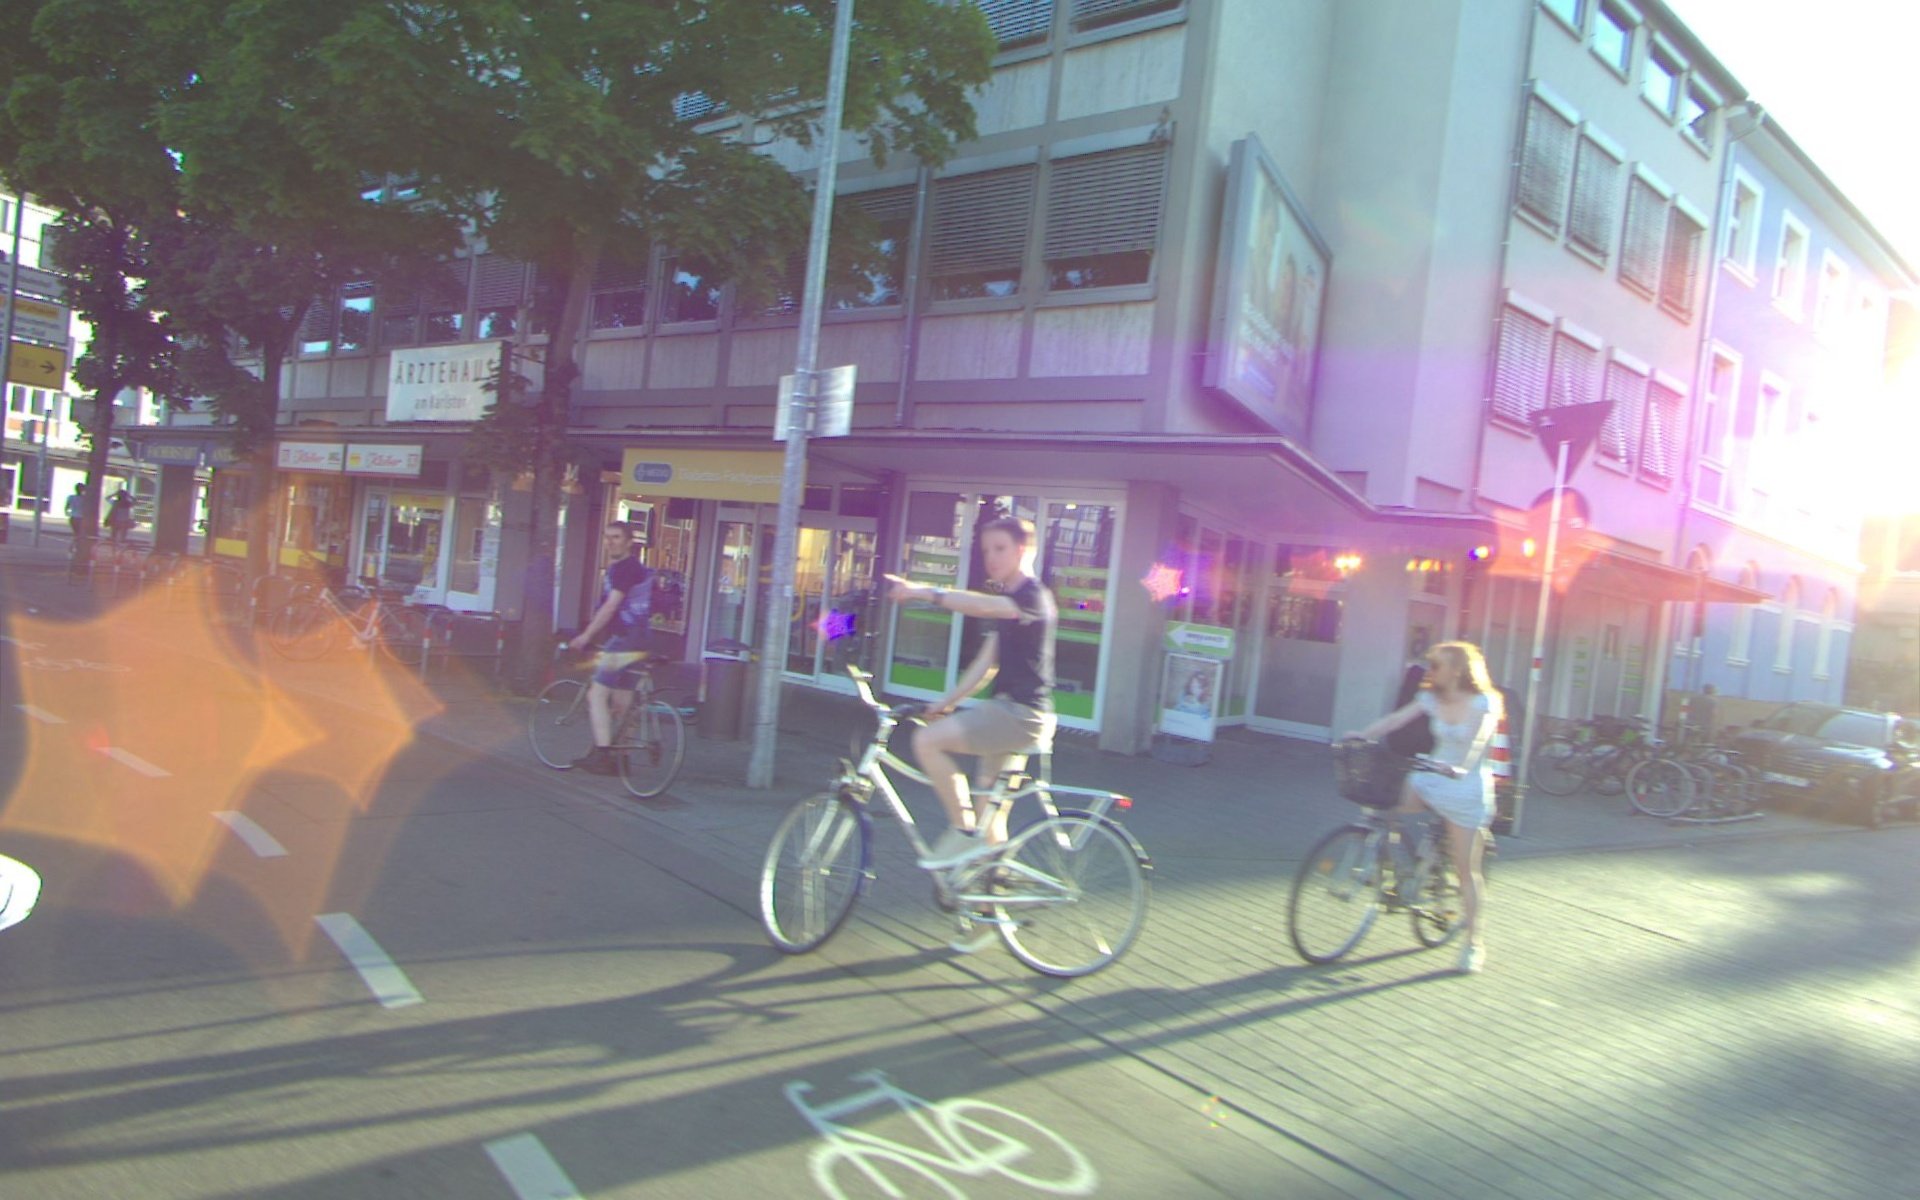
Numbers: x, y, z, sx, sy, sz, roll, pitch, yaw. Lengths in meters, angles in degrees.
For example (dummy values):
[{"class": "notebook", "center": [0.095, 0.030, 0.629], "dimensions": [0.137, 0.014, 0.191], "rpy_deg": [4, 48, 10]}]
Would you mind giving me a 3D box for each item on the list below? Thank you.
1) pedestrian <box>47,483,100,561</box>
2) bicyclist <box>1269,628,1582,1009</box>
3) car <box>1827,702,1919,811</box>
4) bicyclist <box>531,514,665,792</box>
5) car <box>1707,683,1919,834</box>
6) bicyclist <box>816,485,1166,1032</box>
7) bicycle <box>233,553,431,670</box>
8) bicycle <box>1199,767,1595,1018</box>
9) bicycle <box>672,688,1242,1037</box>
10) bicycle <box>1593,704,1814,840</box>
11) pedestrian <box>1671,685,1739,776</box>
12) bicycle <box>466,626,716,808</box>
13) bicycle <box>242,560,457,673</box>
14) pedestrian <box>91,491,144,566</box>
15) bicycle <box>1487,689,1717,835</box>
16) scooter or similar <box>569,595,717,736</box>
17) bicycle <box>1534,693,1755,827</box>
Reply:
[{"class": "pedestrian", "center": [-20.402, -1.791, 23.150], "dimensions": [0.660, 1.688, 0.684], "rpy_deg": [7, 1, 36]}, {"class": "bicyclist", "center": [2.369, 1.045, 5.139], "dimensions": [1.104, 1.643, 0.833], "rpy_deg": [6, 1, -34]}, {"class": "car", "center": [19.162, 3.155, 19.775], "dimensions": [4.389, 1.772, 1.877], "rpy_deg": [7, 2, -33]}, {"class": "bicyclist", "center": [-2.566, 0.365, 7.145], "dimensions": [0.549, 1.853, 0.465], "rpy_deg": [7, 1, 24]}, {"class": "car", "center": [13.523, 2.424, 15.769], "dimensions": [3.970, 1.772, 1.872], "rpy_deg": [7, 2, -40]}, {"class": "bicyclist", "center": [0.089, 0.607, 4.179], "dimensions": [1.095, 1.941, 0.839], "rpy_deg": [7, 1, -5]}, {"class": "bicycle", "center": [-7.784, 0.171, 12.547], "dimensions": [0.659, 1.251, 1.900], "rpy_deg": [8, 0, 43]}, {"class": "bicycle", "center": [2.254, 1.381, 5.095], "dimensions": [1.993, 0.892, 0.833], "rpy_deg": [7, 0, -34]}, {"class": "bicycle", "center": [-0.022, 1.037, 4.187], "dimensions": [2.040, 1.033, 0.839], "rpy_deg": [7, 1, -5]}, {"class": "bicycle", "center": [9.789, 2.234, 13.353], "dimensions": [0.698, 1.236, 2.091], "rpy_deg": [7, 4, -35]}, {"class": "pedestrian", "center": [13.702, 2.393, 18.506], "dimensions": [0.594, 1.545, 0.670], "rpy_deg": [6, 2, -36]}, {"class": "bicycle", "center": [-2.648, 0.792, 7.168], "dimensions": [1.768, 0.983, 0.465], "rpy_deg": [7, 1, 24]}, {"class": "bicycle", "center": [-7.147, 0.222, 11.857], "dimensions": [1.991, 1.124, 0.659], "rpy_deg": [7, 0, -45]}, {"class": "pedestrian", "center": [-20.176, -1.710, 24.101], "dimensions": [0.660, 1.688, 0.723], "rpy_deg": [7, 1, 36]}, {"class": "bicycle", "center": [7.737, 1.914, 12.241], "dimensions": [0.698, 1.236, 2.091], "rpy_deg": [7, 4, -35]}, {"class": "scooter or similar", "center": [-3.136, 0.650, 10.019], "dimensions": [1.258, 1.250, 0.337], "rpy_deg": [7, 1, -16]}, {"class": "bicycle", "center": [8.664, 1.992, 12.841], "dimensions": [0.698, 1.235, 2.092], "rpy_deg": [7, 2, -35]}]
